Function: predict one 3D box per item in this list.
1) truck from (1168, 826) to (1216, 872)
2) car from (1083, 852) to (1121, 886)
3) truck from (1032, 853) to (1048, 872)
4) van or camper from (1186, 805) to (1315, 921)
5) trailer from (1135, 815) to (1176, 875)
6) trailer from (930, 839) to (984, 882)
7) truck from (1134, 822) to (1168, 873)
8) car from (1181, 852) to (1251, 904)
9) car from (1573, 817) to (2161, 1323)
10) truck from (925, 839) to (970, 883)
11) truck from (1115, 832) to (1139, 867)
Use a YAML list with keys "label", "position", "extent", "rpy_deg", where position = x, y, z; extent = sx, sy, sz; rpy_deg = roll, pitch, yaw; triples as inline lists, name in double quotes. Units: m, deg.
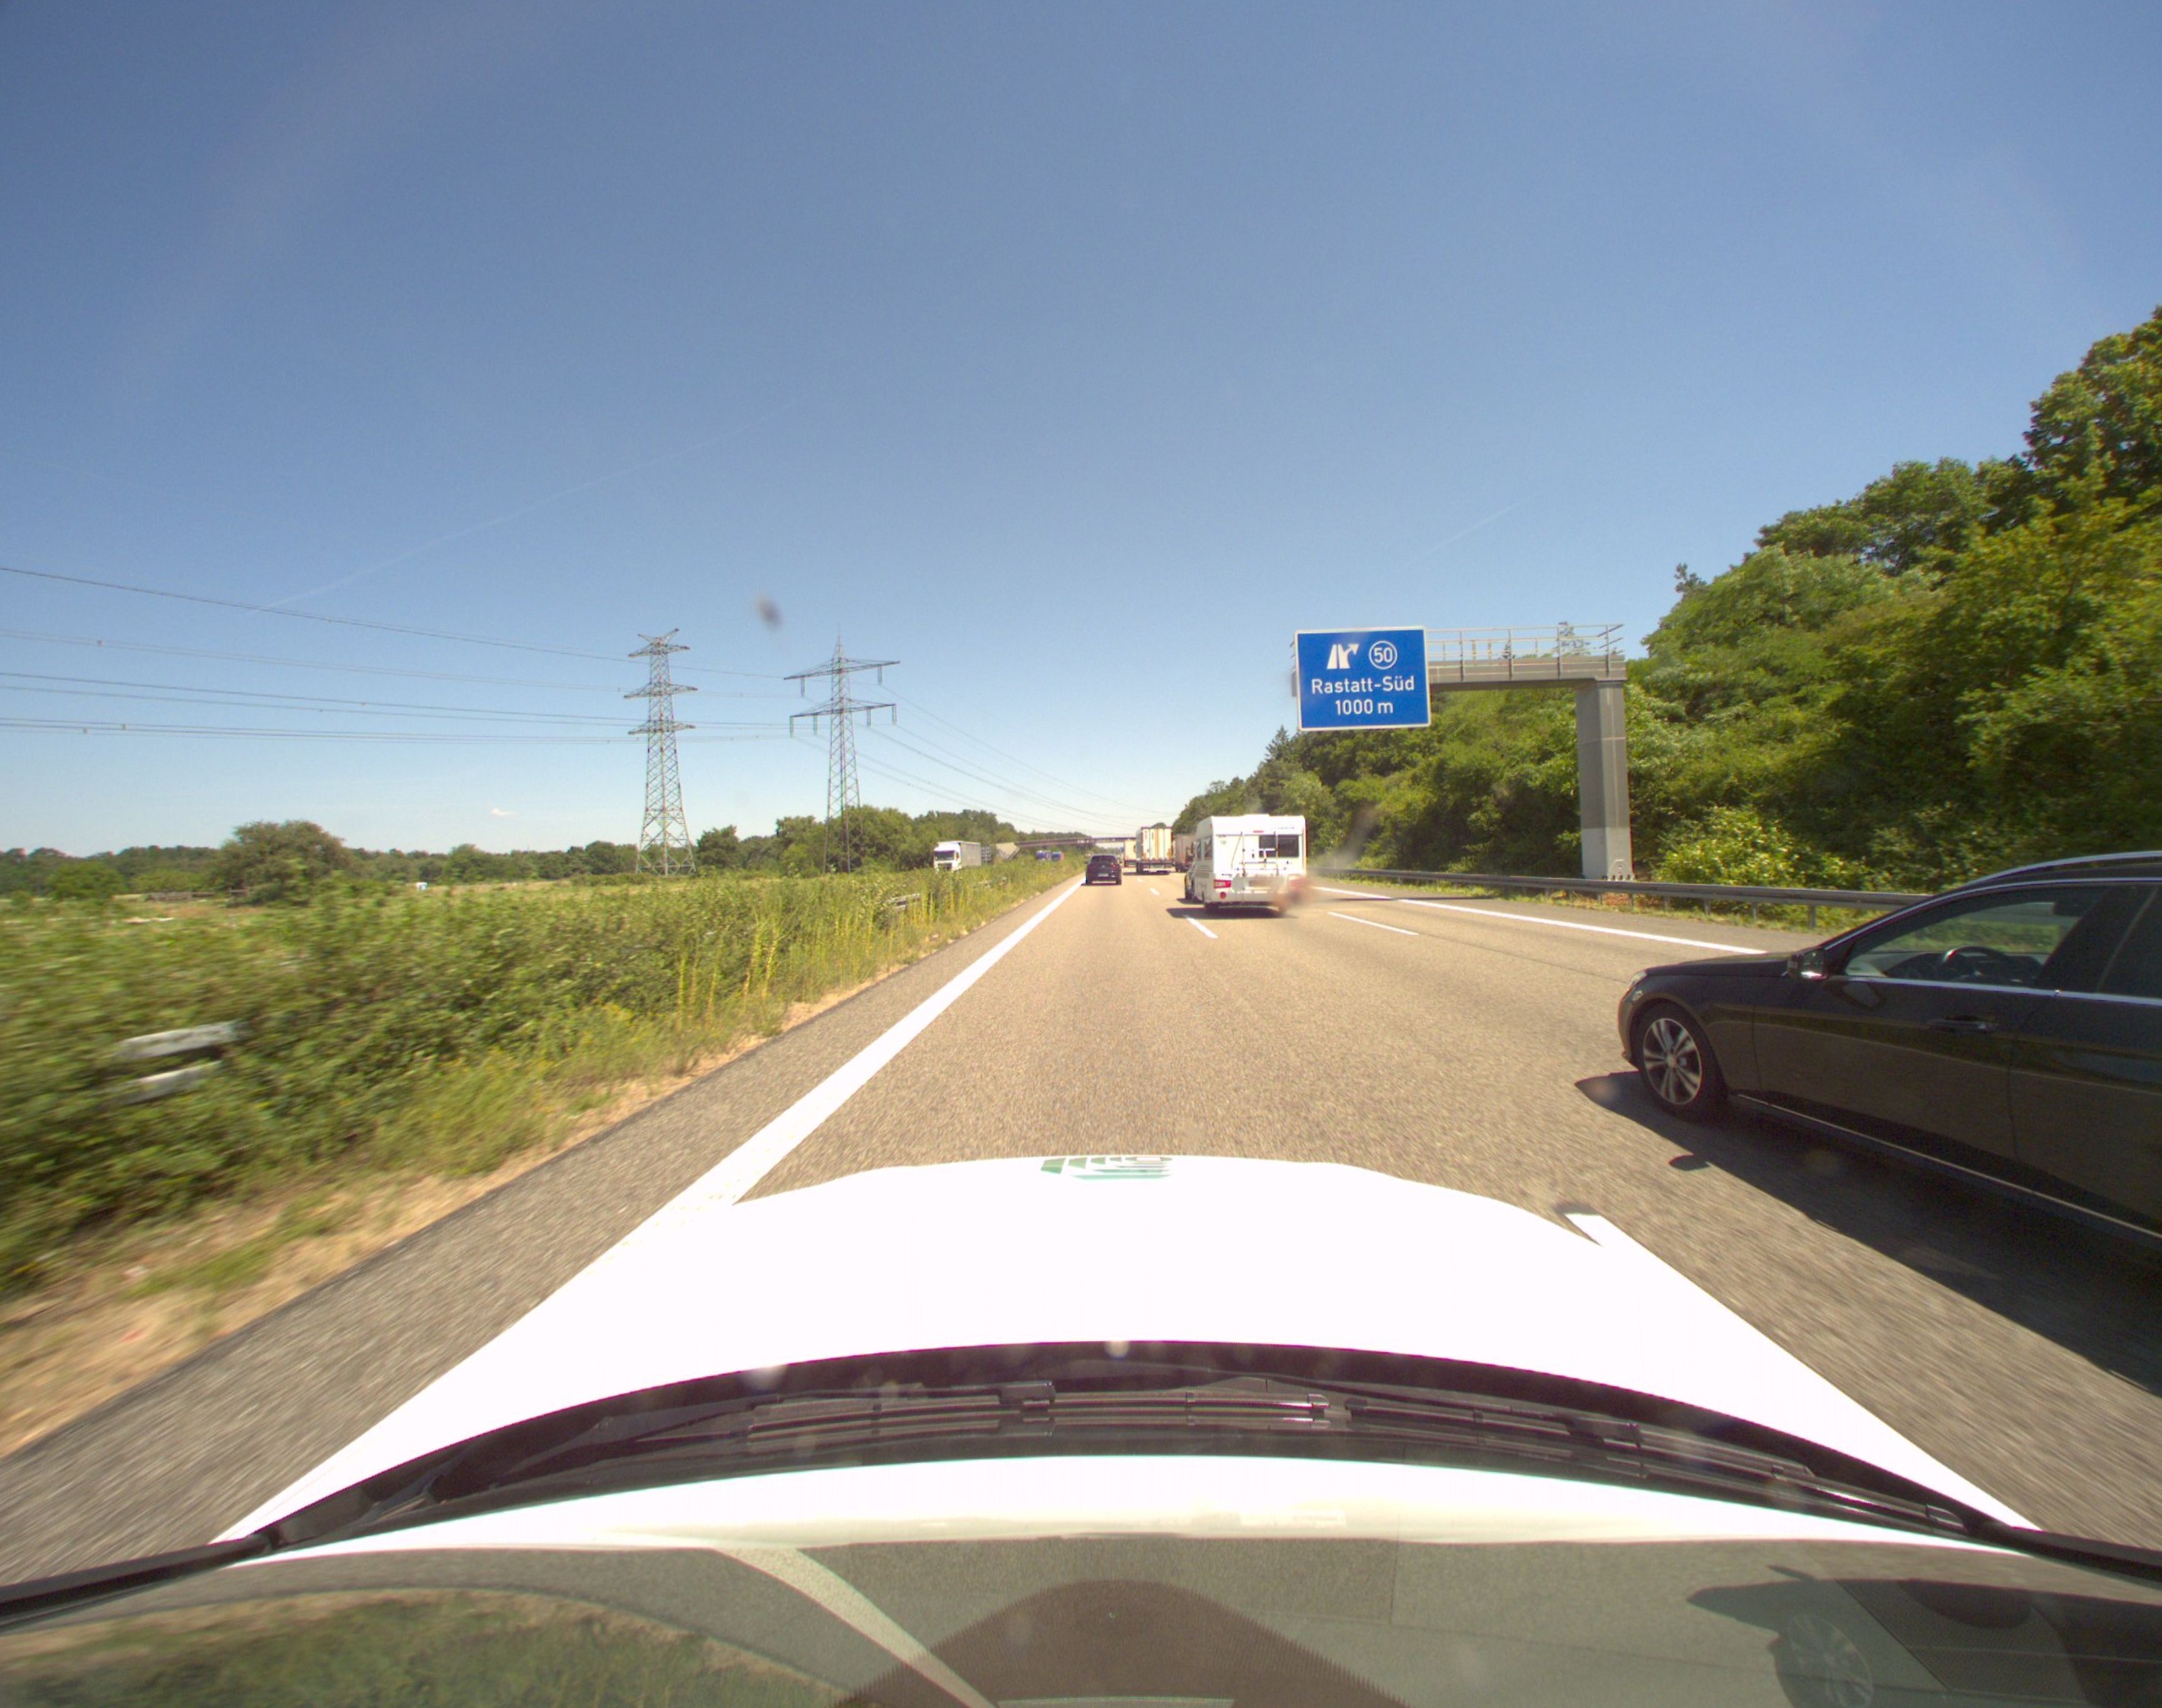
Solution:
- label: "truck"
  position: [10.880, -0.392, 81.019]
  extent: [3.557, 4.245, 11.657]
  rpy_deg: [0, -1, 2]
- label: "car"
  position: [1.150, 0.794, 45.665]
  extent: [1.986, 1.772, 4.001]
  rpy_deg: [-2, 0, 1]
- label: "truck"
  position: [-10.051, 1.997, 198.903]
  extent: [3.076, 4.407, 6.804]
  rpy_deg: [-4, 0, 2]
- label: "van or camper"
  position: [4.418, 0.207, 22.441]
  extent: [2.429, 2.675, 6.354]
  rpy_deg: [-2, 0, 3]
- label: "trailer"
  position: [6.505, -0.687, 72.874]
  extent: [3.075, 4.885, 12.264]
  rpy_deg: [0, -1, 2]
- label: "trailer"
  position: [-14.314, 0.756, 95.643]
  extent: [3.355, 4.408, 14.327]
  rpy_deg: [-4, 0, 2]
- label: "truck"
  position: [6.826, -0.613, 80.651]
  extent: [3.075, 4.885, 6.601]
  rpy_deg: [0, -1, 2]
- label: "car"
  position: [4.540, 0.764, 27.963]
  extent: [1.871, 1.612, 4.706]
  rpy_deg: [0, 0, 3]
- label: "car"
  position: [4.139, 0.630, 3.044]
  extent: [1.834, 1.505, 4.740]
  rpy_deg: [-1, -1, 2]
- label: "truck"
  position: [-14.545, 0.737, 89.400]
  extent: [3.355, 4.408, 6.559]
  rpy_deg: [-3, 0, 2]
- label: "truck"
  position: [7.038, -0.638, 125.467]
  extent: [3.498, 5.166, 10.263]
  rpy_deg: [-1, 0, 2]
